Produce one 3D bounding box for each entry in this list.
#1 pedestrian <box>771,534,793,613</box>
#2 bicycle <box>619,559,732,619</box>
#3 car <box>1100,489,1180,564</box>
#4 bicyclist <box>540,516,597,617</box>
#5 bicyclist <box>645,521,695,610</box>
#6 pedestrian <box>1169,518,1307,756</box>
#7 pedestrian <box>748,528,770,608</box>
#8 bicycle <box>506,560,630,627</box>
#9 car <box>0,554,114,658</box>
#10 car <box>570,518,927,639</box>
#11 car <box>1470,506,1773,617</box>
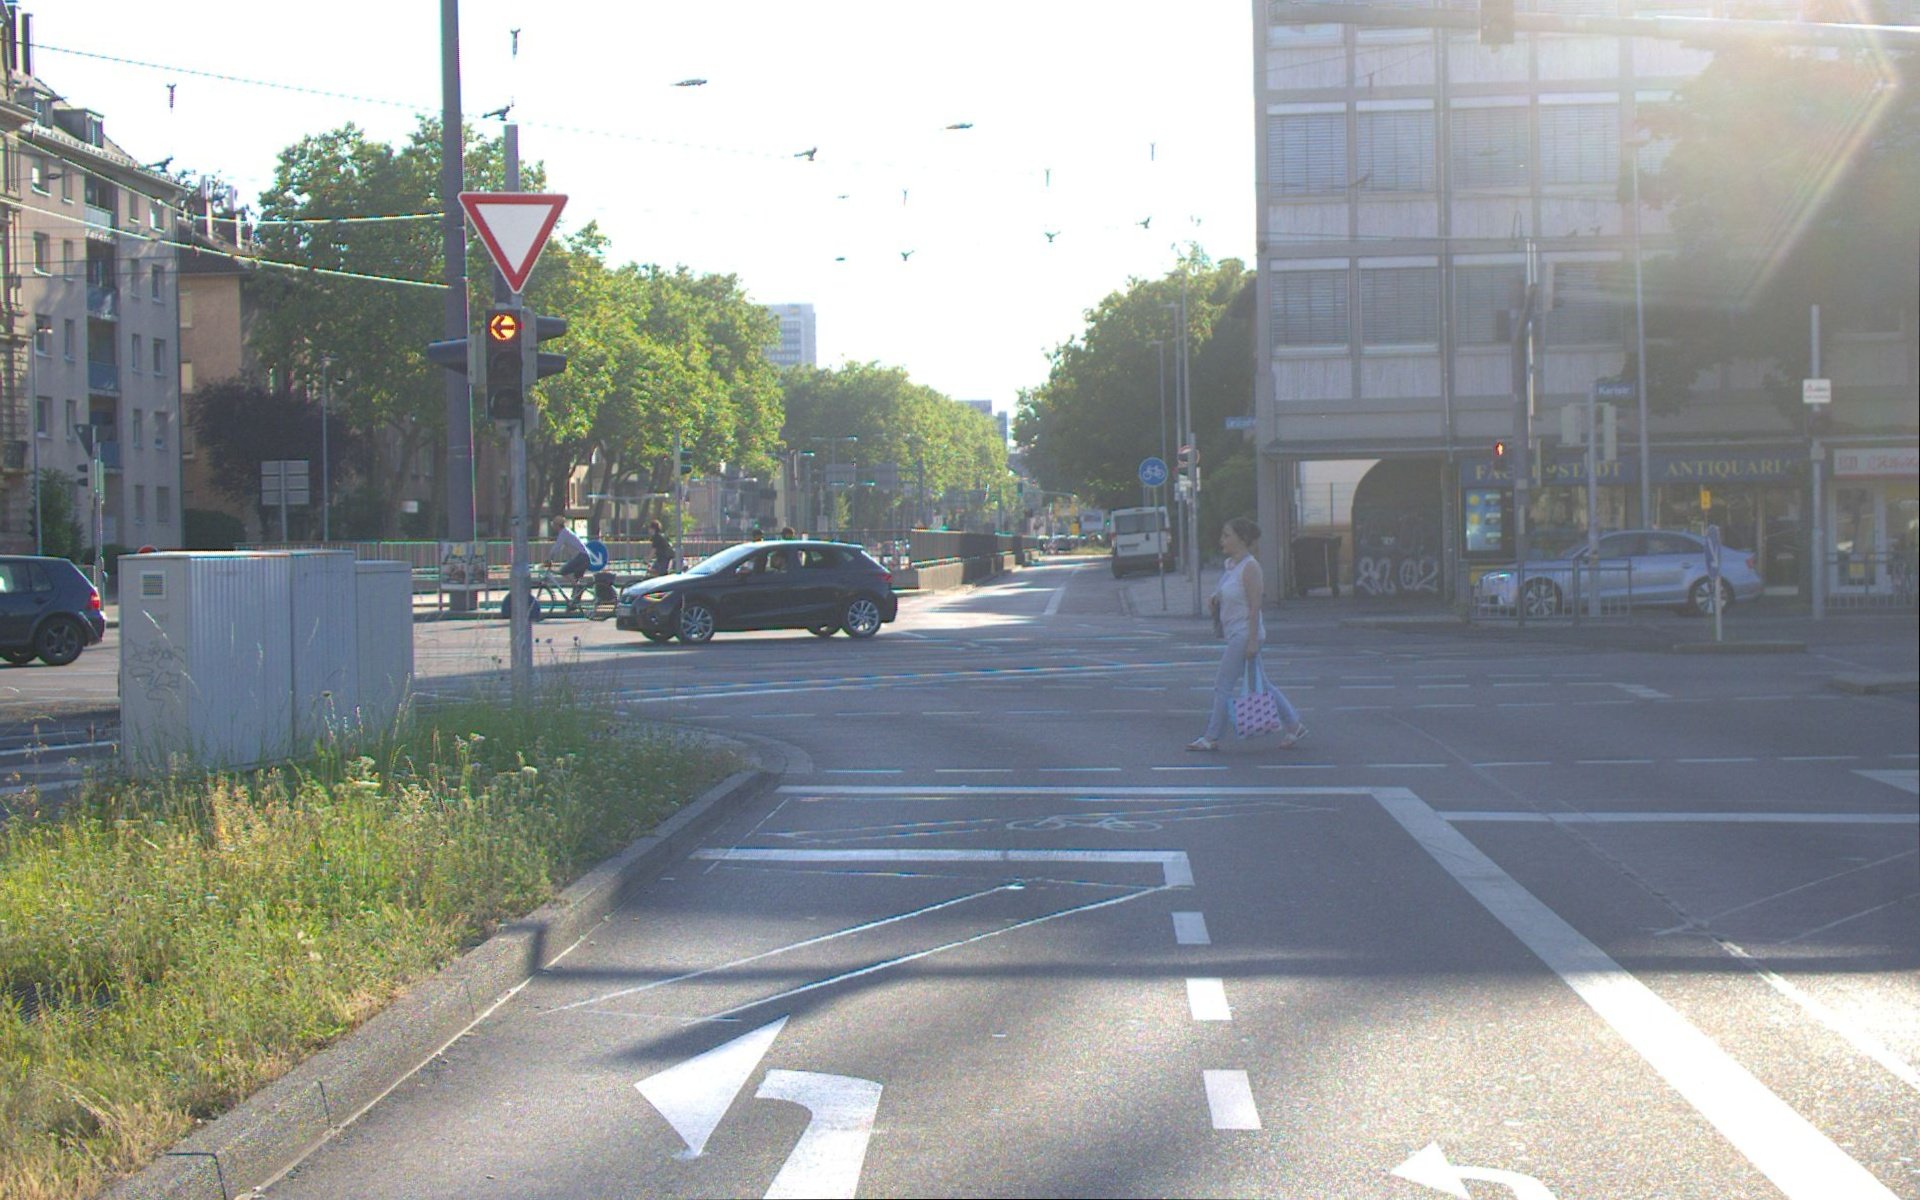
[{"bbox_3d":[-3.407,-0.507,65.683,0.366,1.502,0.543,-1,1,-5],"label":"pedestrian"},{"bbox_3d":[-5.622,-0.219,68.098,2.173,1.133,0.659,-1,1,-2],"label":"bicycle"},{"bbox_3d":[6.124,-2.493,117.762,2.486,2.384,5.934,-3,1,2],"label":"car"},{"bbox_3d":[-6.890,-0.594,60.536,0.898,1.747,0.655,-1,1,-1],"label":"bicyclist"},{"bbox_3d":[-5.738,-0.689,68.082,0.898,1.747,0.650,-1,1,-1],"label":"bicyclist"},{"bbox_3d":[1.901,0.243,23.598,0.878,1.592,0.655,-1,1,2],"label":"pedestrian"},{"bbox_3d":[-3.807,-0.605,65.019,0.366,1.502,0.543,-1,1,-5],"label":"pedestrian"},{"bbox_3d":[-6.896,-0.119,60.548,2.093,1.133,0.658,-1,1,-2],"label":"bicycle"},{"bbox_3d":[-13.104,0.108,44.013,3.987,1.284,1.847,-2,1,-34],"label":"car"},{"bbox_3d":[-3.080,-0.327,49.891,4.763,1.590,2.001,-2,1,-20],"label":"car"},{"bbox_3d":[10.251,-0.607,53.507,4.332,1.590,2.000,-1,1,1],"label":"car"}]
